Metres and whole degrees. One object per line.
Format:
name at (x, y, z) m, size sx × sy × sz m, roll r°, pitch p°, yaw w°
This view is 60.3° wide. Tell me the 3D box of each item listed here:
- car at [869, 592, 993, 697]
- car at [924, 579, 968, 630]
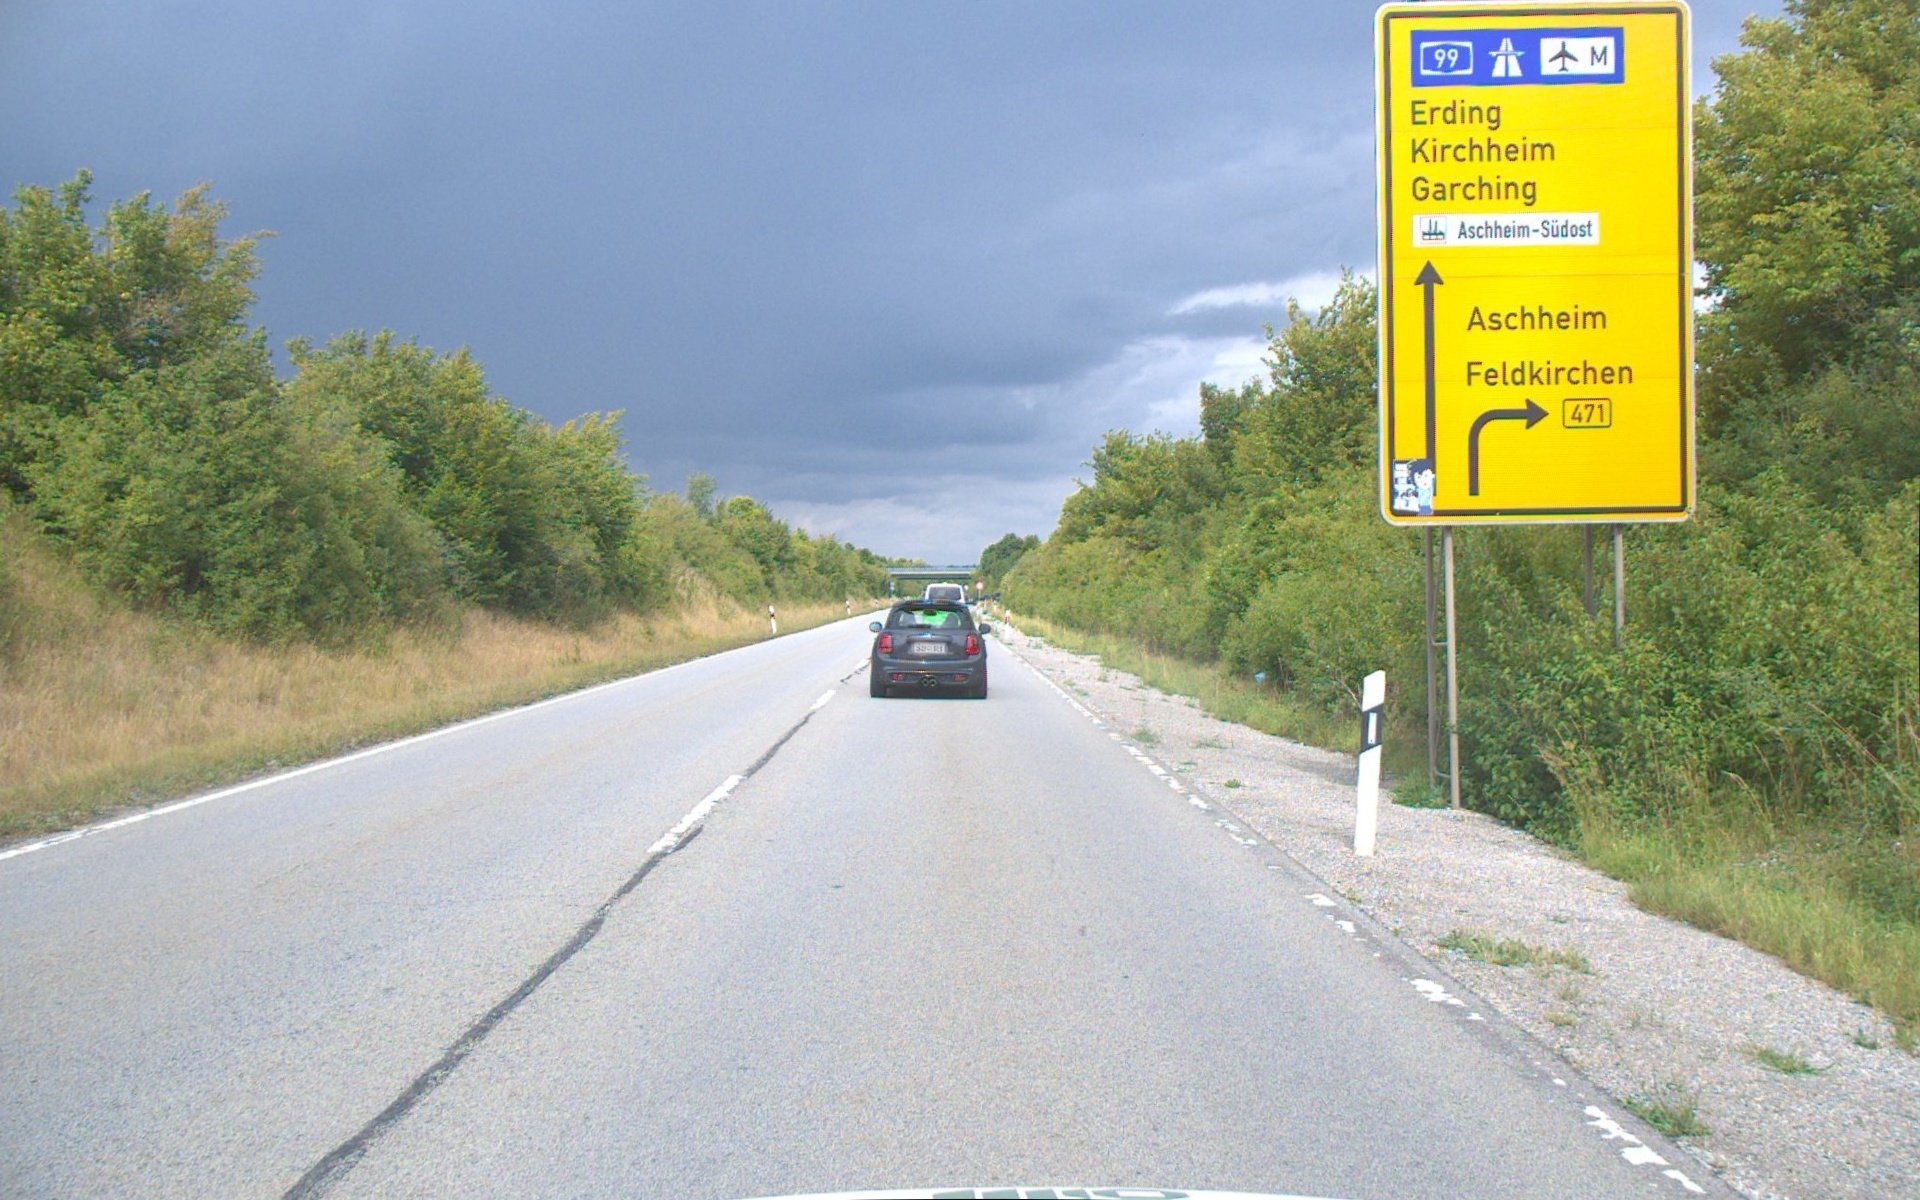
car at (-0.443, 0.627, 25.322) m, size 1.721 × 1.452 × 3.999 m, roll 1°, pitch 0°, yaw -1°
car at (-0.616, 0.192, 71.180) m, size 1.782 × 2.090 × 3.999 m, roll 1°, pitch 0°, yaw -1°
